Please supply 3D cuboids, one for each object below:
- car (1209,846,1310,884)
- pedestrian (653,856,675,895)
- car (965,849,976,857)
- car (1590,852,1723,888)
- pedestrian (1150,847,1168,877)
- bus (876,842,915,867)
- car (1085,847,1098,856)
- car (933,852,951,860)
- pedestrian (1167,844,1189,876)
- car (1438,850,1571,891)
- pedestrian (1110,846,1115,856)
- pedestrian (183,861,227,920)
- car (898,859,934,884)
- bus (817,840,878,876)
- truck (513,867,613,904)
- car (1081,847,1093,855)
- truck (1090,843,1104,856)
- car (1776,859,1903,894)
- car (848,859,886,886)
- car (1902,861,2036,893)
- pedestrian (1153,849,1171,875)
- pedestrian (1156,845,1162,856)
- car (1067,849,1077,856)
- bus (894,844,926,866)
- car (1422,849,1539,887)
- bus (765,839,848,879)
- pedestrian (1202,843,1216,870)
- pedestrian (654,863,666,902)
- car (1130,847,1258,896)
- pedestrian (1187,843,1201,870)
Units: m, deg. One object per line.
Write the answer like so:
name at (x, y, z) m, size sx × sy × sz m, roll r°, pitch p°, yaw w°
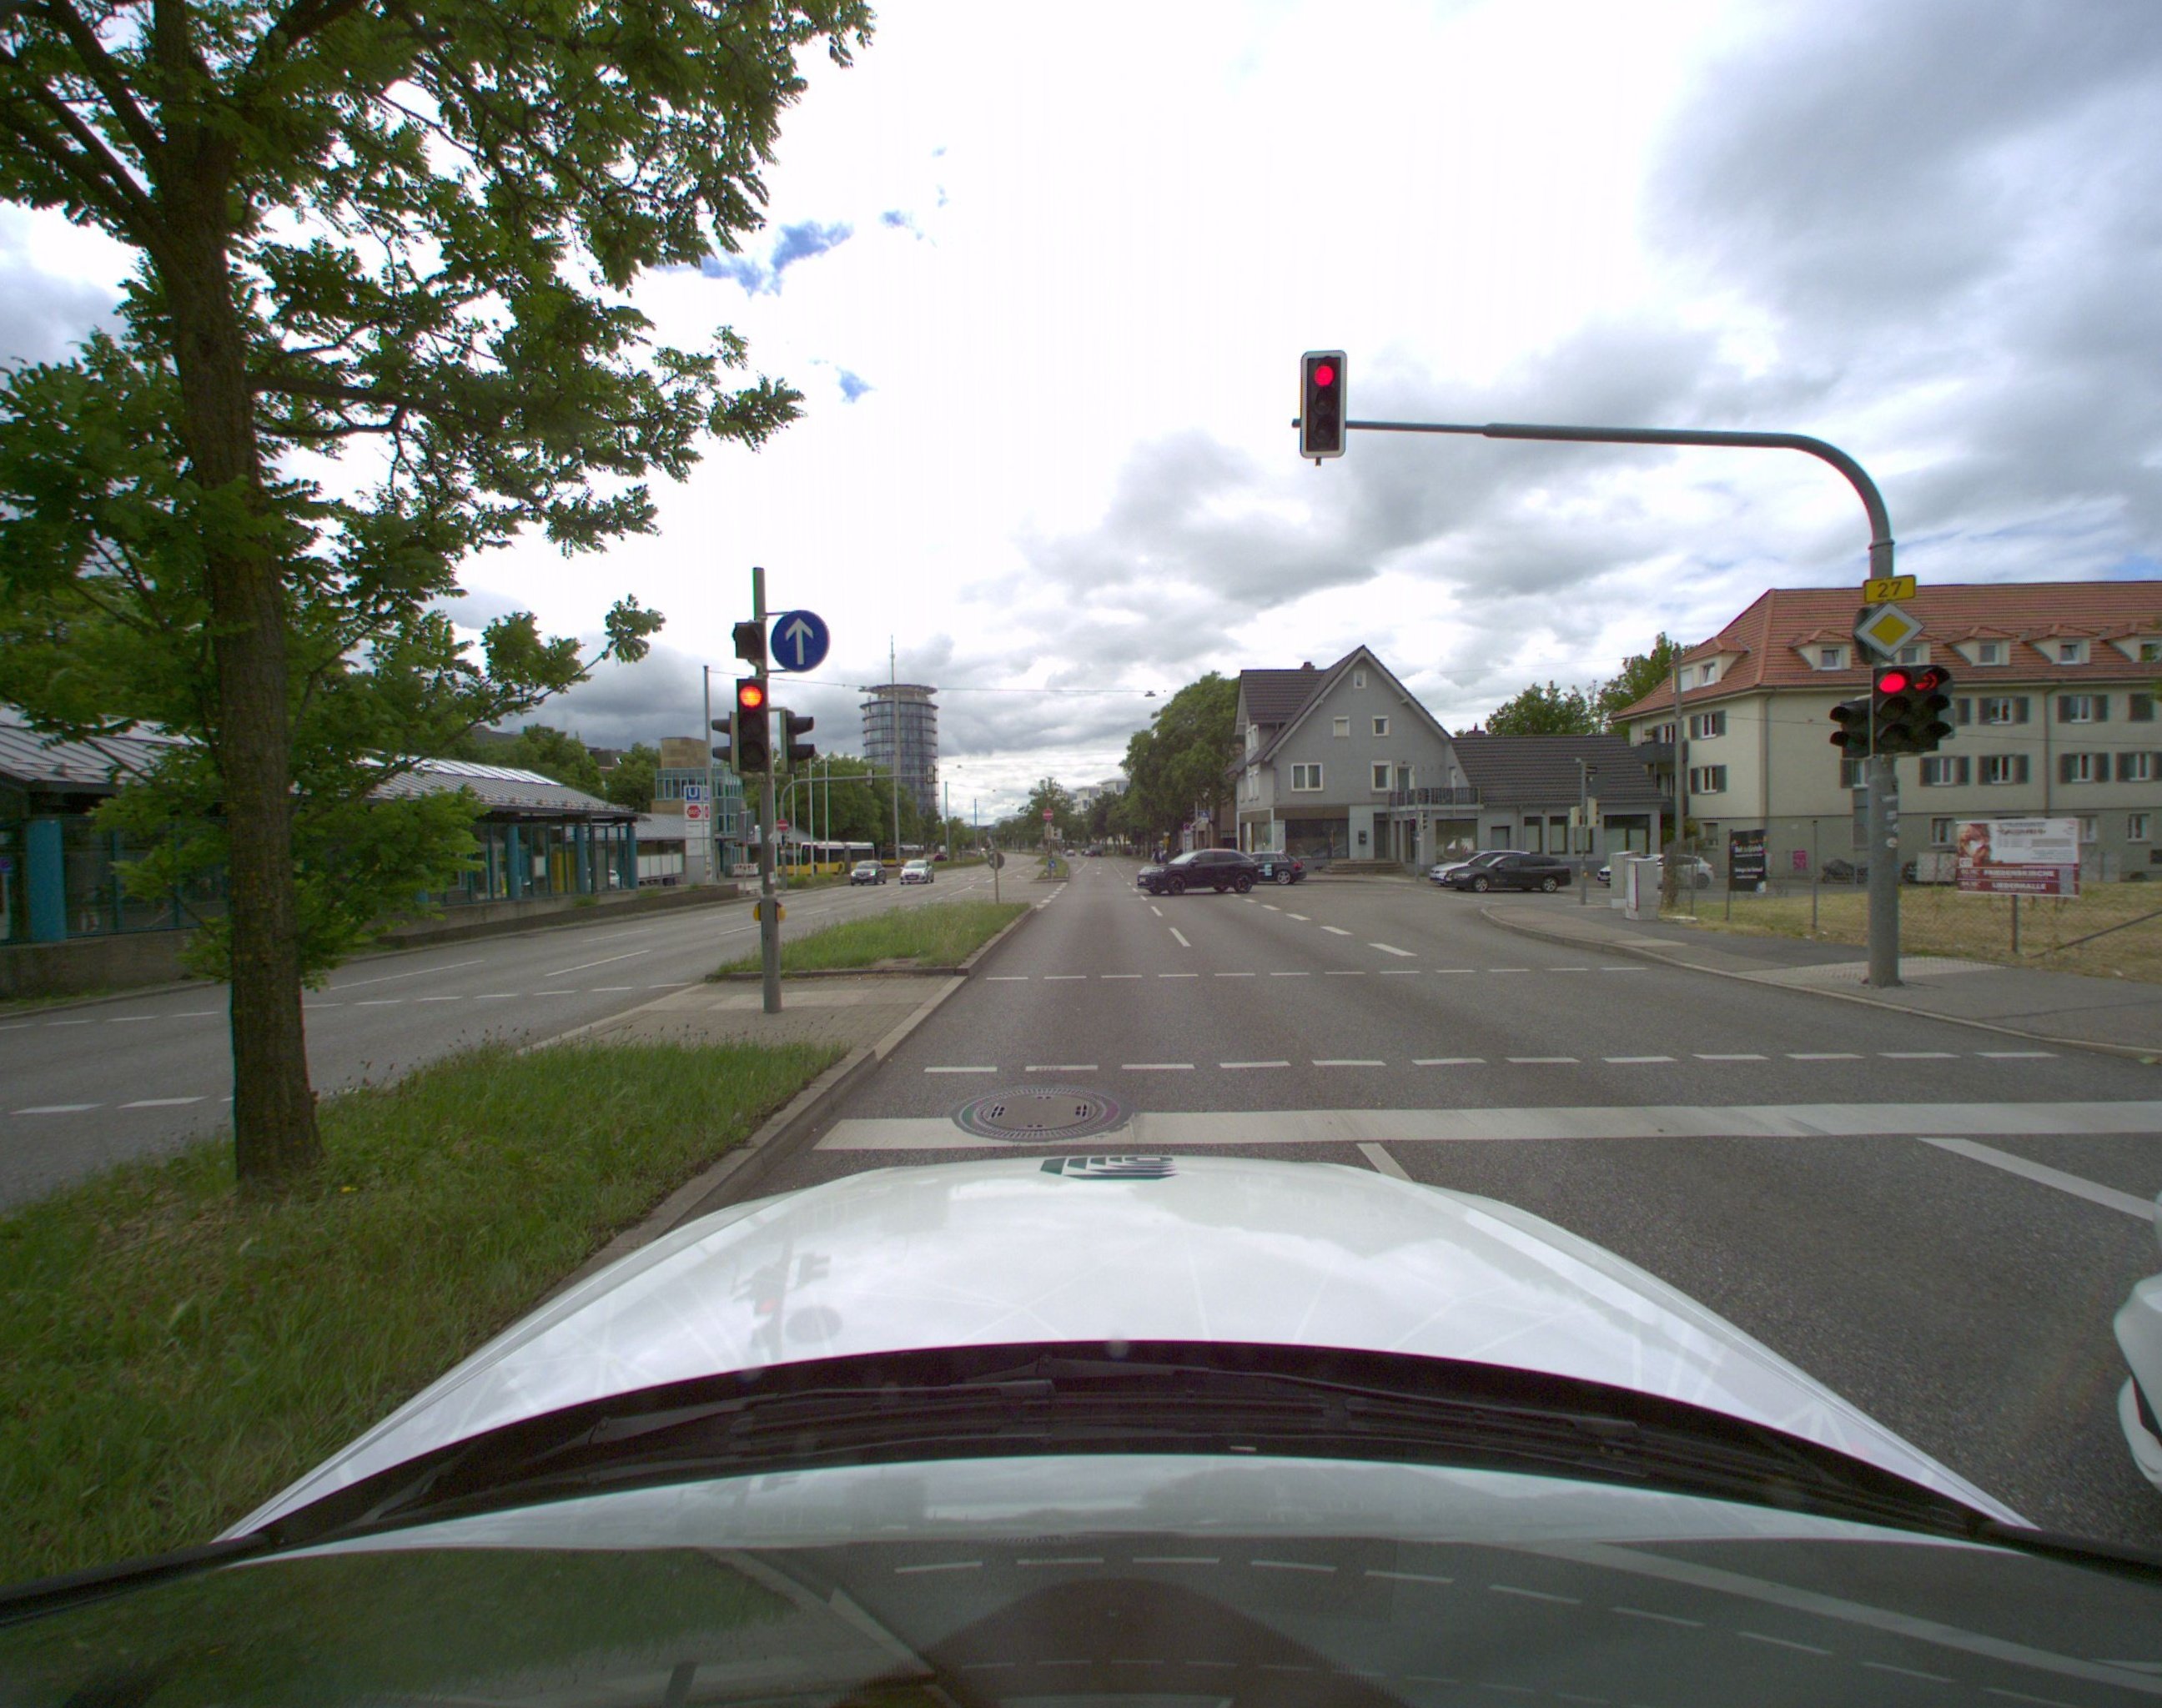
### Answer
car at (7.800, 0.476, 35.611) m, size 4.051 × 1.494 × 1.905 m, roll -2°, pitch 0°, yaw 19°
pedestrian at (-20.777, 1.062, 40.558) m, size 0.658 × 1.897 × 0.686 m, roll -2°, pitch 0°, yaw 1°
car at (-27.267, -0.164, 201.218) m, size 1.958 × 2.014 × 4.001 m, roll 0°, pitch -1°, yaw 2°
car at (24.428, 0.667, 34.685) m, size 4.226 × 1.477 × 2.001 m, roll -1°, pitch 0°, yaw 1°
pedestrian at (4.622, 0.463, 48.424) m, size 0.866 × 1.780 × 0.706 m, roll -2°, pitch 0°, yaw -7°
bus at (-26.098, 0.103, 115.318) m, size 3.135 × 3.225 × 10.282 m, roll -2°, pitch 0°, yaw 0°
car at (2.160, -0.468, 164.810) m, size 2.246 × 1.757 × 4.928 m, roll -2°, pitch 0°, yaw -3°
car at (-28.549, 0.438, 167.278) m, size 3.544 × 1.492 × 1.705 m, roll -2°, pitch 0°, yaw -5°
pedestrian at (5.544, 0.356, 46.416) m, size 1.048 × 1.760 × 0.706 m, roll -2°, pitch 0°, yaw -8°
car at (16.244, 0.629, 31.334) m, size 4.260 × 1.481 × 1.715 m, roll 0°, pitch 1°, yaw 0°
pedestrian at (7.050, -0.687, 182.864) m, size 0.930 × 2.308 × 1.008 m, roll 0°, pitch -1°, yaw -8°
pedestrian at (-25.311, 1.043, 23.539) m, size 0.629 × 1.667 × 0.665 m, roll -1°, pitch -1°, yaw 21°
car at (-10.340, 1.059, 51.324) m, size 1.680 × 1.462 × 3.552 m, roll -2°, pitch 0°, yaw -3°
bus at (-23.354, 0.375, 81.868) m, size 2.975 × 3.270 × 7.889 m, roll -2°, pitch 0°, yaw 6°
truck at (-23.893, 1.400, 37.761) m, size 1.986 × 1.517 × 4.001 m, roll -2°, pitch 0°, yaw 1°
car at (1.283, -0.549, 174.108) m, size 2.246 × 1.647 × 4.927 m, roll -2°, pitch 0°, yaw -3°
truck at (2.959, -0.827, 154.212) m, size 2.246 × 2.416 × 4.928 m, roll -2°, pitch 0°, yaw -3°
car at (34.042, 0.988, 36.619) m, size 3.972 × 1.537 × 1.871 m, roll 0°, pitch 0°, yaw 2°
car at (-13.493, 1.151, 51.534) m, size 1.681 × 1.578 × 3.344 m, roll -2°, pitch 0°, yaw -4°
car at (39.812, 1.025, 36.581) m, size 3.972 × 1.377 × 1.871 m, roll 0°, pitch 0°, yaw 2°
pedestrian at (4.761, 0.477, 47.656) m, size 0.866 × 1.507 × 0.706 m, roll -2°, pitch 0°, yaw -7°
pedestrian at (11.887, -0.555, 123.933) m, size 0.649 × 1.570 × 0.669 m, roll -2°, pitch 0°, yaw -6°
car at (-1.917, -0.347, 173.474) m, size 1.963 × 1.420 × 4.017 m, roll -2°, pitch 0°, yaw -3°
bus at (-26.041, 0.129, 124.327) m, size 3.134 × 3.225 × 7.765 m, roll -2°, pitch 0°, yaw 0°
car at (16.817, 0.581, 34.379) m, size 4.092 × 1.540 × 1.826 m, roll 0°, pitch 0°, yaw -4°
bus at (-24.325, 0.407, 72.869) m, size 2.975 × 3.250 × 10.186 m, roll -2°, pitch 0°, yaw 6°
pedestrian at (8.020, 0.129, 51.151) m, size 0.703 × 1.662 × 0.870 m, roll -2°, pitch 0°, yaw -1°
pedestrian at (-17.418, 1.175, 33.678) m, size 0.420 × 1.591 × 0.353 m, roll -2°, pitch 0°, yaw -28°
car at (3.959, 0.575, 28.621) m, size 4.075 × 1.521 × 1.827 m, roll -2°, pitch 0°, yaw -22°
pedestrian at (7.106, 0.157, 51.343) m, size 0.703 × 1.662 × 0.870 m, roll -2°, pitch 0°, yaw 0°
